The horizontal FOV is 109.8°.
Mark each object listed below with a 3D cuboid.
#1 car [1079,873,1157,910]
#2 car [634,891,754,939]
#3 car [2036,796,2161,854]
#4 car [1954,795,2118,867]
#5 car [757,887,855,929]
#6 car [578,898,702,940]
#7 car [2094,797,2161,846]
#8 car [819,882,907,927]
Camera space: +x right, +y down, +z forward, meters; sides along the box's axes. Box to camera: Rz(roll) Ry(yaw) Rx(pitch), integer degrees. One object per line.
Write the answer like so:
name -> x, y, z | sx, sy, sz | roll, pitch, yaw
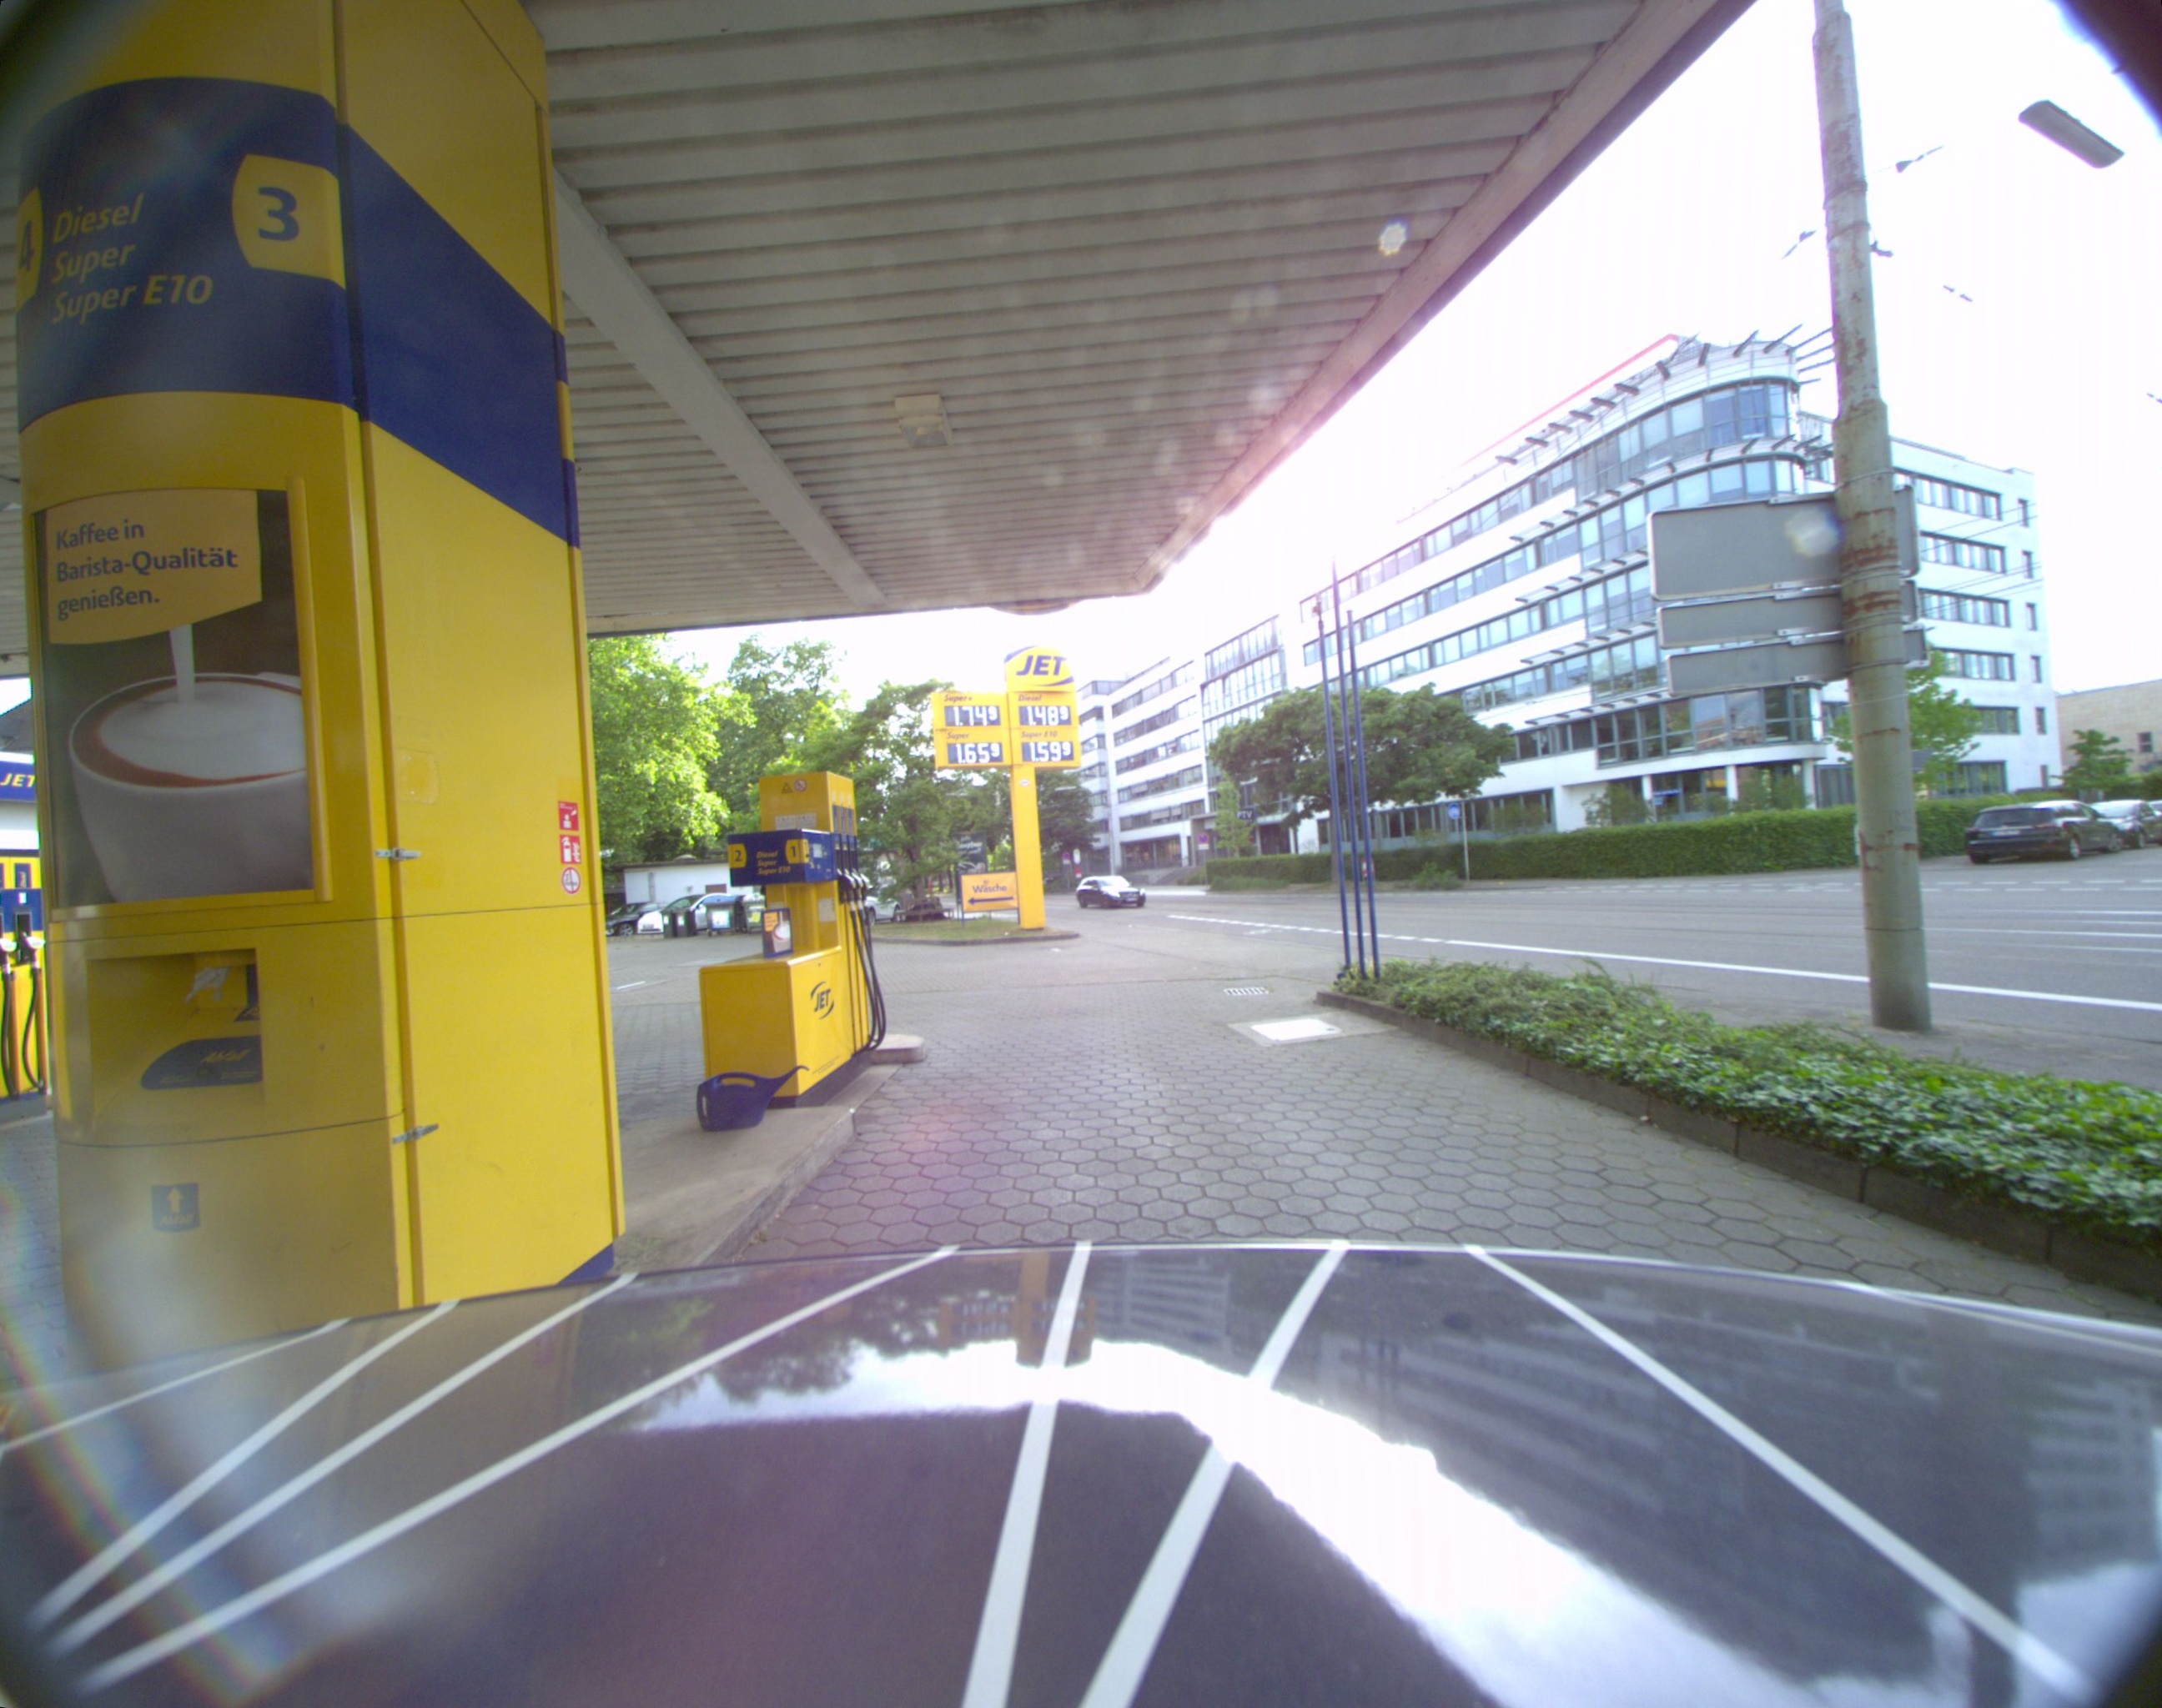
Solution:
car -> 1.582, 1.677, 34.410 | 1.756, 1.460, 4.563 | -4, -1, -22
car -> -15.290, 2.368, 30.311 | 1.771, 1.591, 4.398 | -2, -1, 14
car -> 32.549, -0.941, 24.099 | 4.296, 1.530, 1.945 | -4, -1, -27
car -> 27.278, -0.664, 21.696 | 4.296, 1.681, 2.010 | -4, -1, -27
car -> -11.652, 2.270, 32.491 | 1.771, 1.591, 4.400 | -4, -4, 13
car -> -17.792, 2.594, 30.905 | 1.771, 1.367, 4.398 | -2, -1, 14
car -> 37.131, -1.196, 26.152 | 4.296, 1.509, 1.945 | -4, -1, -27
car -> -8.634, 2.005, 30.500 | 1.772, 1.591, 4.398 | -4, -4, 6
